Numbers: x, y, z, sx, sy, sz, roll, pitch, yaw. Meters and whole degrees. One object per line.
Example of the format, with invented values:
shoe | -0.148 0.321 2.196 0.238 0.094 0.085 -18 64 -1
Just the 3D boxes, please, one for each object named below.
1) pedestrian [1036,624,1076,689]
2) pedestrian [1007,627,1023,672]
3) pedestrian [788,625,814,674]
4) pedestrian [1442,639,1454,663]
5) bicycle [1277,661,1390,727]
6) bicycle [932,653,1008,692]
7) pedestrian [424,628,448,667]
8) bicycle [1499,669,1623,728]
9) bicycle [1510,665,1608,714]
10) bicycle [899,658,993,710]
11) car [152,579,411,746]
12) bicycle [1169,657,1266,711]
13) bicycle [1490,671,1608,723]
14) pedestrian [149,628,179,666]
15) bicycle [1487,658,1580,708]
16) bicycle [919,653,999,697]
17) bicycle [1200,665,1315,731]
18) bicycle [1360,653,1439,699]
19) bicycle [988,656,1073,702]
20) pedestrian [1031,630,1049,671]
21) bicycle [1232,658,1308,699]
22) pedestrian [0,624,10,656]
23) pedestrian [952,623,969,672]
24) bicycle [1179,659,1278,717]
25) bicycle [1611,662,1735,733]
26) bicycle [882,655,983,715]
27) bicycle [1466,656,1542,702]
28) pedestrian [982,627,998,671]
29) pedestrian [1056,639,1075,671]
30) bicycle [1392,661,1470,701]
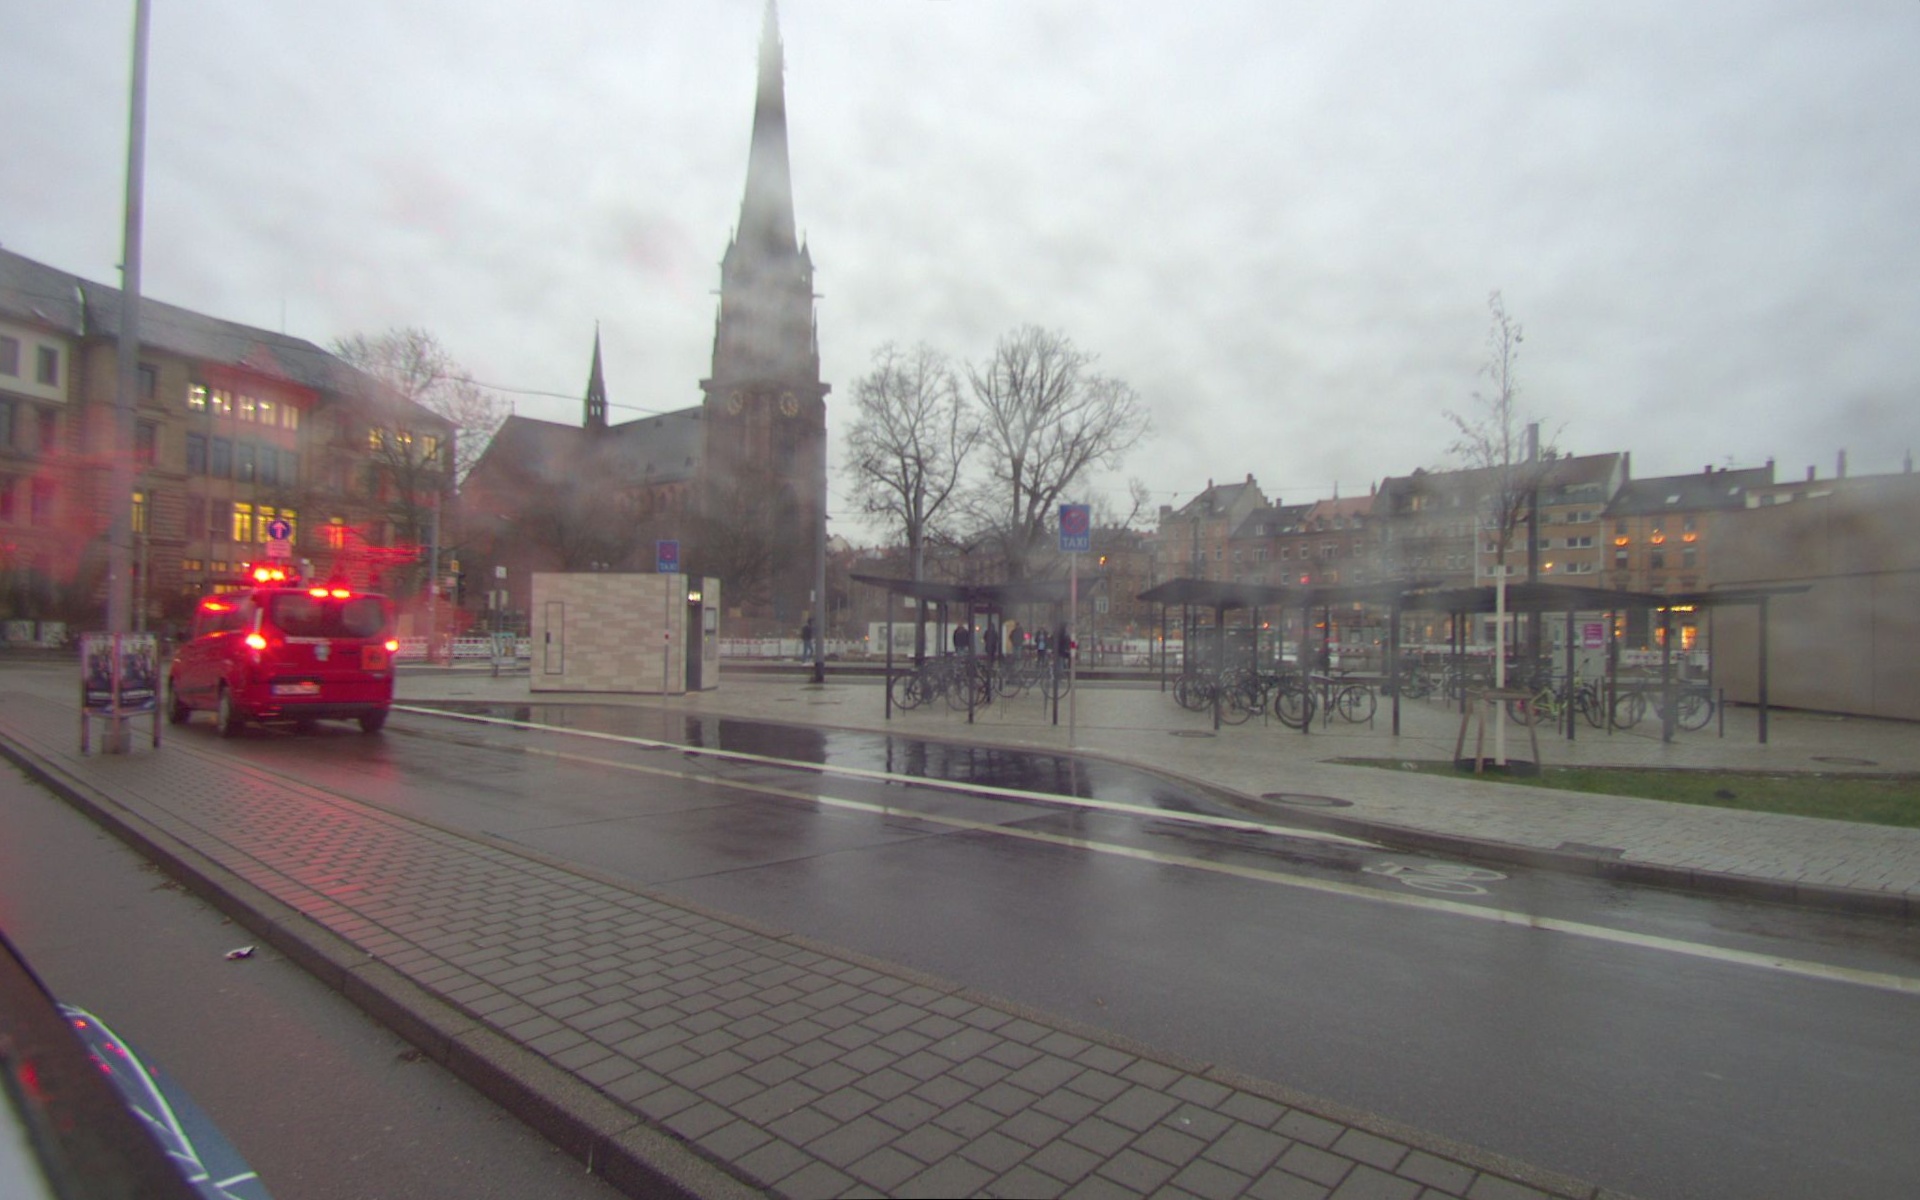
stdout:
pedestrian | 2.713 1.592 28.515 1.056 1.778 1.008 0 -3 10
pedestrian | 2.068 1.857 38.106 0.543 1.648 0.571 -1 0 -1
pedestrian | -6.041 1.882 38.506 0.816 1.808 0.669 -1 0 5
pedestrian | 41.256 4.292 85.535 0.579 2.029 0.707 3 -4 -40
bicycle | 6.944 1.736 18.858 1.905 1.129 0.473 1 -1 11
bicycle | 0.270 1.869 26.118 1.905 0.917 0.473 1 -1 11
pedestrian | -23.668 2.140 45.697 0.761 1.673 1.211 -1 0 -35
bicycle | 11.125 1.816 18.776 1.905 0.983 0.473 1 -1 11
bicycle | 12.899 1.921 21.822 1.751 0.963 0.473 1 -1 11
bicycle | -0.289 1.735 21.096 1.905 0.993 0.473 1 -1 11
car | -10.104 0.870 14.928 4.640 2.086 1.904 -1 -4 40
bicycle | 5.430 1.774 21.393 1.899 1.078 0.474 1 -1 2
bicycle | 11.366 1.864 19.563 1.905 0.898 0.473 1 -1 11
pedestrian | -39.741 2.339 50.547 0.885 1.830 0.674 1 -2 -1
bicycle | 13.252 1.911 23.409 1.810 1.081 0.474 1 -1 8
bicycle | -0.016 1.830 24.861 1.905 0.993 0.473 1 -1 11
bicycle | 5.255 1.721 17.948 1.905 1.078 0.473 1 -1 11
bicycle | 11.183 1.926 25.794 1.780 1.116 0.473 1 -1 11
bicycle | 1.638 1.823 23.415 1.905 0.993 0.473 1 -1 11
pedestrian | 3.034 1.912 38.324 0.580 1.513 0.675 -1 0 -1
bicycle | 7.661 1.943 25.062 1.729 0.946 0.474 1 -1 7
pedestrian | -51.781 2.142 54.226 0.916 1.737 0.826 0 -3 4
pedestrian | 0.004 1.803 38.570 0.619 1.808 0.672 -1 0 -1
bicycle | 5.443 1.776 20.609 1.905 1.078 0.473 1 -1 11
bicycle | 12.688 1.726 18.037 1.731 1.165 0.617 1 -1 2
bicycle | -0.540 1.654 19.859 1.905 1.078 0.473 1 -1 11
bicycle | 13.232 1.918 24.656 1.551 1.044 0.521 1 -1 1
pedestrian | 1.148 1.861 38.644 0.556 1.664 0.540 -1 0 -1
pedestrian | 3.980 2.074 38.316 0.610 1.165 0.806 -1 0 -1
bicycle | 11.620 1.993 24.983 1.672 0.898 0.474 1 -1 5
